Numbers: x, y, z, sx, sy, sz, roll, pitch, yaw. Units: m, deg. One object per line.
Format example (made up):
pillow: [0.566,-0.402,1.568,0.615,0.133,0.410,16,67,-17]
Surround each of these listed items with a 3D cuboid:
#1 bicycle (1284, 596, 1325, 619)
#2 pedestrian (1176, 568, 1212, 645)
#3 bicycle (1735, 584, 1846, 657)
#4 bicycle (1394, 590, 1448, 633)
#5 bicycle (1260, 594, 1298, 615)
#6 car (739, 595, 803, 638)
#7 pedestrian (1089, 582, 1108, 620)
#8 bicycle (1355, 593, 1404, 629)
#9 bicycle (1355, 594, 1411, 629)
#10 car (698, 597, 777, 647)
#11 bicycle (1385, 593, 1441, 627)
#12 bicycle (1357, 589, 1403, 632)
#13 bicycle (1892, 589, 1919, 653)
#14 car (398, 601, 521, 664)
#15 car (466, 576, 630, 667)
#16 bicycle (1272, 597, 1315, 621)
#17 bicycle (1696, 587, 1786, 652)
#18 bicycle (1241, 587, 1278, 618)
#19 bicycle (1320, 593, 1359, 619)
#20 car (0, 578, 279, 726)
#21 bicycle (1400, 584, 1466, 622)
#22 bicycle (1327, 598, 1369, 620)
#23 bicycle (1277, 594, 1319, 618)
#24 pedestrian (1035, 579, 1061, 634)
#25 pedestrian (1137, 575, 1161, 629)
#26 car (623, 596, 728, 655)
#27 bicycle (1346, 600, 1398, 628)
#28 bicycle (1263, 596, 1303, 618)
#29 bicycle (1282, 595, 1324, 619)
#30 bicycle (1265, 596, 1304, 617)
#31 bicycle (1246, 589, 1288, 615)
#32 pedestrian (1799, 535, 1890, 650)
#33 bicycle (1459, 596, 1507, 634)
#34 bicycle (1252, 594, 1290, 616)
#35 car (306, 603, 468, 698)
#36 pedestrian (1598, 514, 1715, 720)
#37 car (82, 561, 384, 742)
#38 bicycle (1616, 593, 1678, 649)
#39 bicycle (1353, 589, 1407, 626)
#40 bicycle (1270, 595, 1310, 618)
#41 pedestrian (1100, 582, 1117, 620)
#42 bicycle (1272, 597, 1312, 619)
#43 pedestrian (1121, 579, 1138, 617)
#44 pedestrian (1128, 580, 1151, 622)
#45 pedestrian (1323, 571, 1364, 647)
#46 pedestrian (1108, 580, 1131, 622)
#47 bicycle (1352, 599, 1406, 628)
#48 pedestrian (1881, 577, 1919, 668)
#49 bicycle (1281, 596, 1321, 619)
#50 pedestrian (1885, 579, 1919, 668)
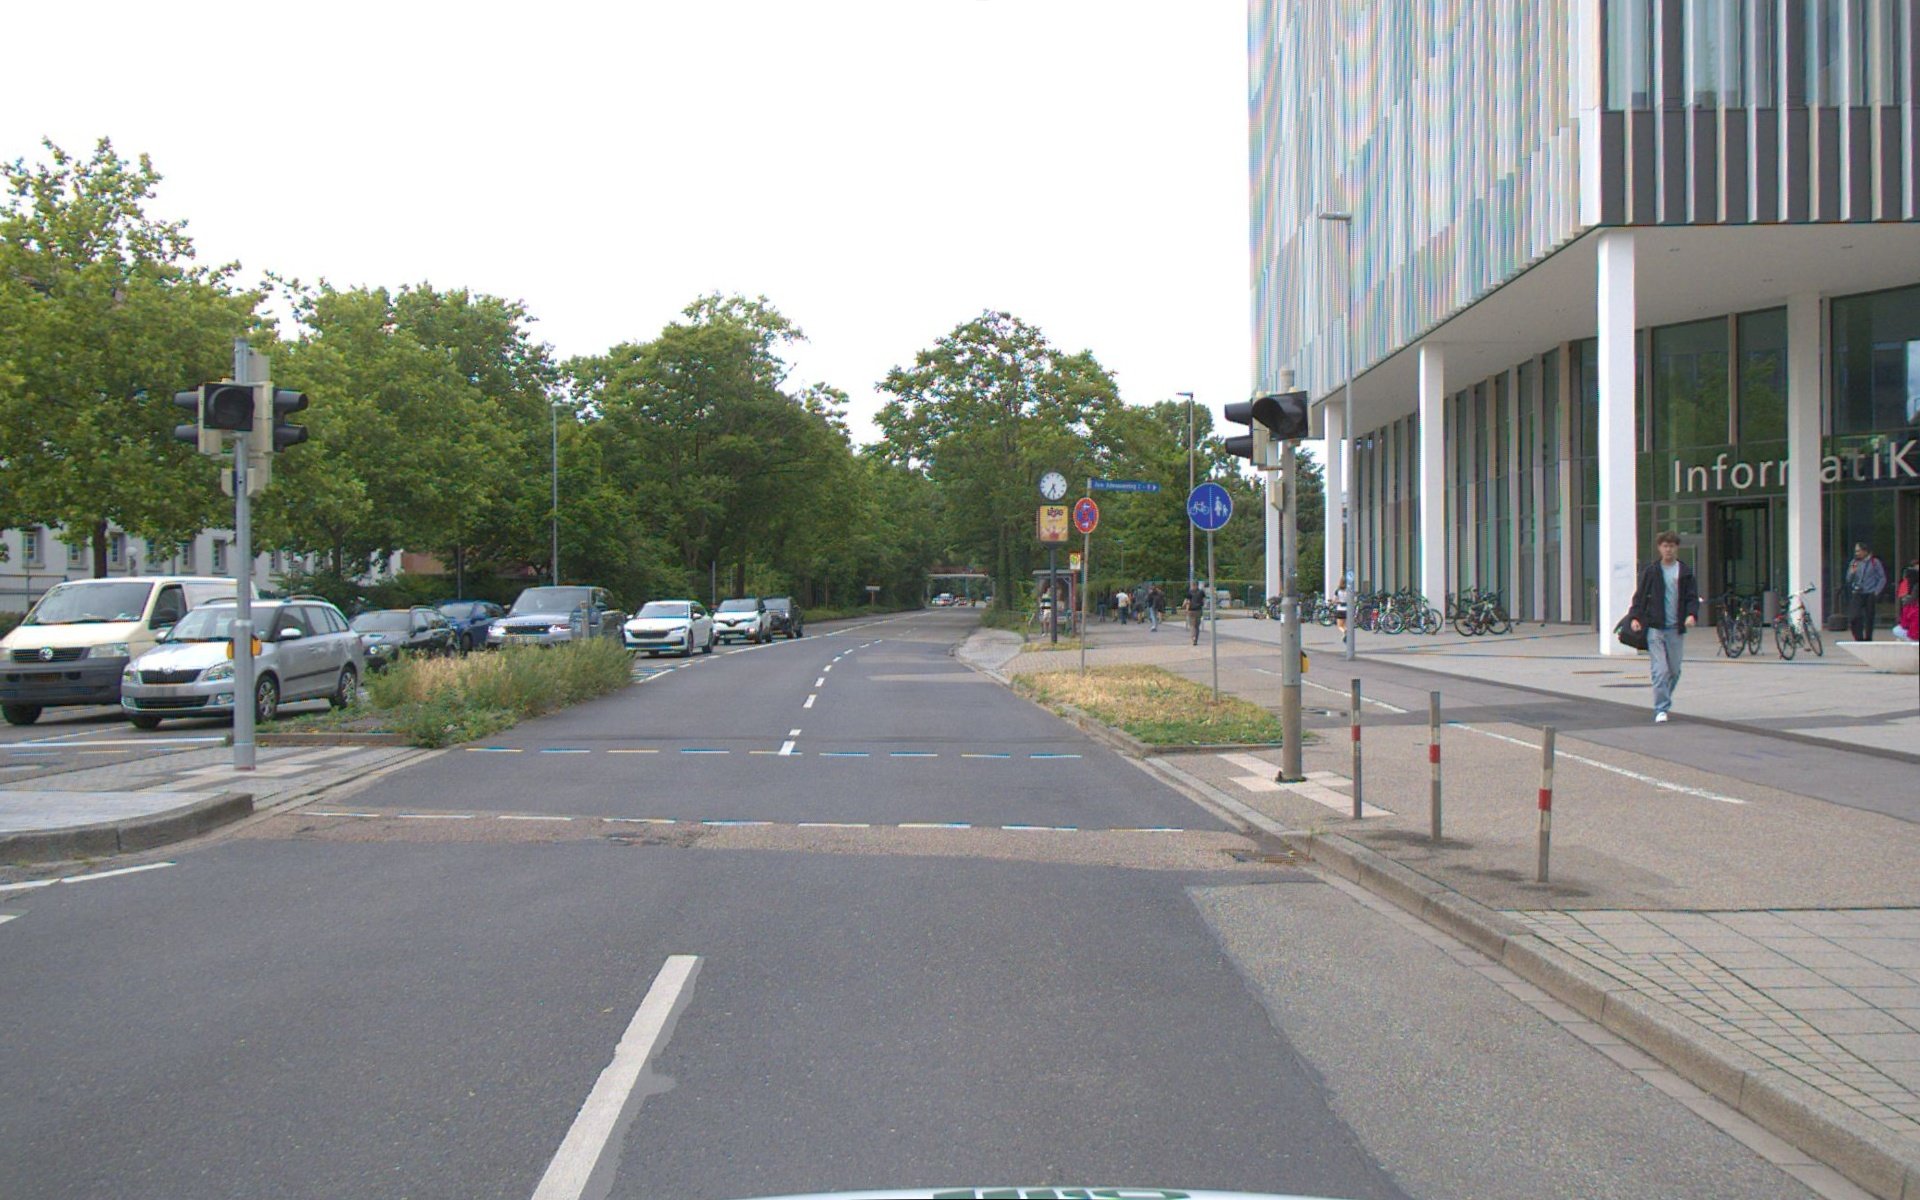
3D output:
bicycle: [14.274,0.307,68.525,1.570,0.900,0.516,-1,0,1]
pedestrian: [6.359,0.174,45.008,0.825,2.049,0.895,-3,0,3]
bicycle: [14.792,0.350,29.423,2.695,1.208,0.763,-1,0,-41]
bicycle: [12.612,0.309,45.304,0.596,1.099,1.958,-3,0,-9]
bicycle: [14.300,0.193,74.094,1.574,0.890,0.556,-1,0,-2]
car: [-7.488,0.620,65.951,1.863,1.621,4.517,-1,0,2]
pedestrian: [7.621,0.055,91.108,0.907,2.049,1.039,-1,0,-3]
bicycle: [13.107,0.337,51.688,1.371,1.062,0.559,-3,0,2]
bicycle: [13.351,0.370,52.250,1.573,0.999,0.556,-3,0,2]
car: [-7.603,0.724,56.886,1.952,1.574,4.181,-2,0,2]
bicycle: [13.893,0.306,50.779,1.572,0.952,0.569,-3,0,12]
bicycle: [12.211,0.300,48.122,0.623,1.160,2.200,-3,0,-2]
bicycle: [16.257,0.325,27.439,1.942,1.019,0.763,-1,0,-41]
car: [-14.019,0.861,46.580,1.820,1.635,4.595,1,0,3]
car: [-8.416,0.403,34.286,1.952,1.716,4.949,1,0,3]
bicycle: [13.285,0.346,65.923,1.573,0.890,0.556,-2,0,2]
bicycle: [14.573,0.349,30.832,2.164,1.135,0.725,-1,0,-42]
bicycle: [13.943,0.134,77.026,1.612,1.356,0.463,-3,-1,15]
bicycle: [13.465,0.221,58.734,1.256,0.890,0.556,-2,0,2]
car: [-11.532,0.658,23.582,1.735,1.880,4.489,1,0,0]
bicycle: [15.382,0.109,53.859,1.953,1.164,0.644,-3,0,43]
bicycle: [14.201,0.333,60.507,1.404,0.759,0.556,-2,0,2]
bicycle: [13.655,0.245,66.890,1.573,0.890,0.556,-2,0,2]
pedestrian: [3.431,0.250,64.383,0.893,2.048,0.854,-3,2,1]
pedestrian: [7.273,0.060,63.738,0.825,2.049,0.894,-1,0,1]
car: [-7.703,0.649,45.165,1.864,1.491,4.912,1,0,2]
bicycle: [13.727,0.473,55.104,1.573,0.890,0.556,-1,0,2]
bicycle: [13.994,0.297,71.669,1.573,0.890,0.556,-2,0,2]
bicycle: [13.228,0.275,63.852,1.500,0.848,0.556,-2,0,2]
bicycle: [14.162,0.287,72.281,1.573,0.890,0.556,-2,0,2]
bicycle: [13.959,0.089,75.247,1.758,1.100,0.626,-3,0,0]
pedestrian: [16.662,-0.143,31.187,1.156,2.098,1.136,1,0,7]
bicycle: [13.751,0.386,43.451,1.473,0.945,0.435,-2,2,-38]
bicycle: [13.763,0.218,73.254,1.573,0.890,0.556,-2,0,2]
car: [-11.167,0.936,32.502,1.663,1.719,4.001,-1,0,2]
pedestrian: [7.142,0.173,16.997,0.825,2.049,0.895,-1,0,3]
car: [-9.093,0.598,21.096,1.952,2.049,4.001,-1,0,2]
bicycle: [13.698,0.406,33.006,0.625,1.080,1.842,1,0,6]
bicycle: [13.672,0.250,53.826,1.609,1.110,0.573,-4,-1,10]
bicycle: [12.986,0.252,65.093,1.424,0.853,0.556,-2,0,2]
pedestrian: [8.171,0.062,90.861,0.807,2.049,0.720,-1,0,-3]
bicycle: [14.184,0.328,70.677,1.573,0.890,0.556,-2,0,2]
pedestrian: [9.354,-0.098,91.125,0.807,2.049,0.720,-1,0,1]
pedestrian: [8.781,0.057,80.910,0.907,2.049,1.039,-1,0,-3]
pedestrian: [9.598,0.217,41.417,0.825,1.868,0.894,-1,0,1]
pedestrian: [7.832,0.062,81.249,0.907,2.049,1.039,-1,0,-3]
bicycle: [13.389,0.418,52.847,1.573,0.890,0.556,-1,0,2]
pedestrian: [13.099,0.297,22.560,0.828,1.227,0.891,-1,0,36]
bicycle: [14.324,0.320,69.482,1.573,0.890,0.556,-2,0,2]
pedestrian: [13.557,0.318,23.145,0.872,1.214,0.846,-1,0,16]
